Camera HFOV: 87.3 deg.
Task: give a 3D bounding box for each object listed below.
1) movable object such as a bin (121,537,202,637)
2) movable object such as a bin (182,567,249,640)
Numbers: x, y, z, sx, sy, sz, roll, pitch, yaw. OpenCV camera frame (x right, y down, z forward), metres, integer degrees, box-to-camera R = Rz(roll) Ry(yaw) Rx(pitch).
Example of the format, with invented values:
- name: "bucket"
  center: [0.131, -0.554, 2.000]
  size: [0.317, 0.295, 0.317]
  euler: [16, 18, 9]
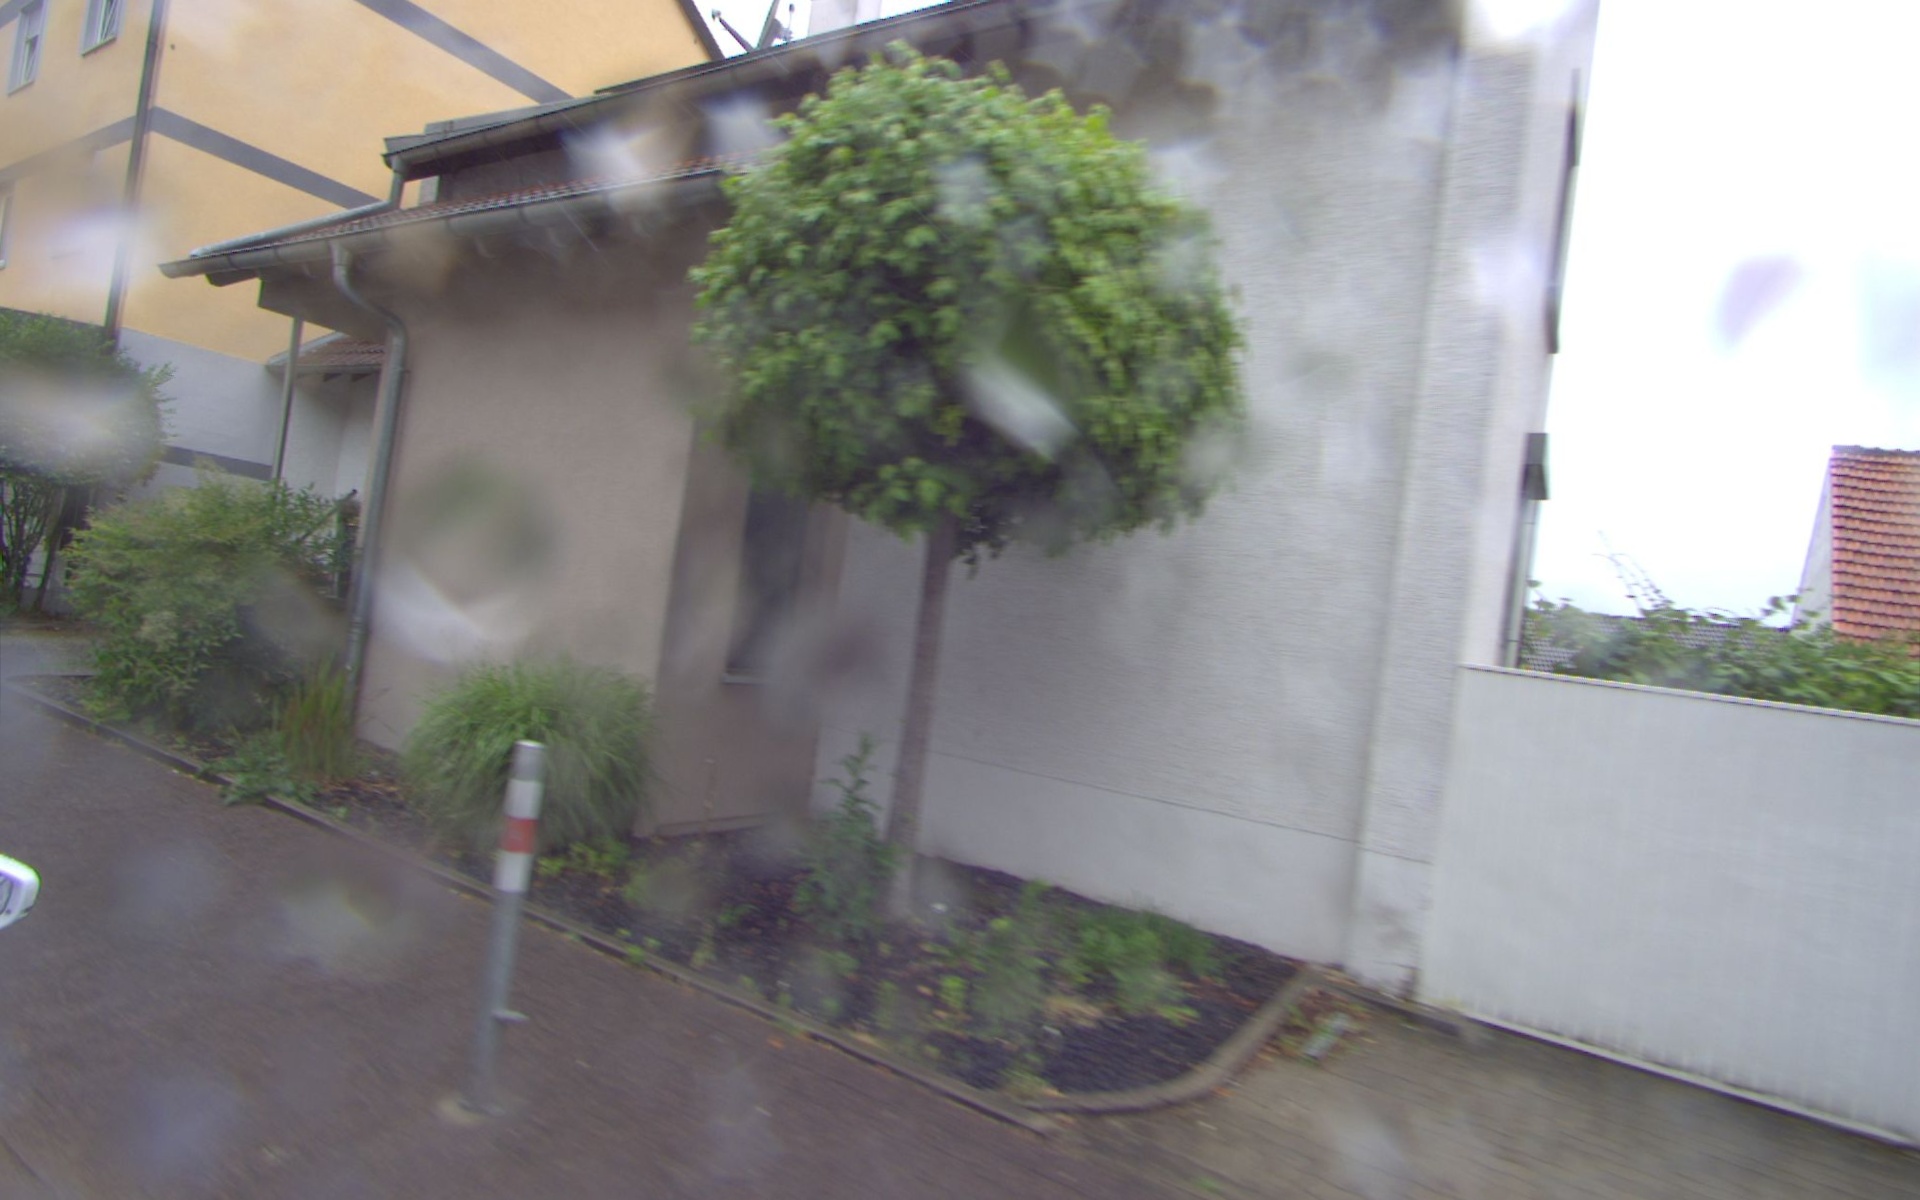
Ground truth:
- name: "movable object such as a bin"
  center: [-9.664, -0.158, 12.169]
  size: [0.728, 1.094, 0.508]
  euler: [7, 0, 36]
- name: "movable object such as a bin"
  center: [-9.354, 0.043, 12.639]
  size: [0.728, 0.823, 0.449]
  euler: [7, 2, 36]
